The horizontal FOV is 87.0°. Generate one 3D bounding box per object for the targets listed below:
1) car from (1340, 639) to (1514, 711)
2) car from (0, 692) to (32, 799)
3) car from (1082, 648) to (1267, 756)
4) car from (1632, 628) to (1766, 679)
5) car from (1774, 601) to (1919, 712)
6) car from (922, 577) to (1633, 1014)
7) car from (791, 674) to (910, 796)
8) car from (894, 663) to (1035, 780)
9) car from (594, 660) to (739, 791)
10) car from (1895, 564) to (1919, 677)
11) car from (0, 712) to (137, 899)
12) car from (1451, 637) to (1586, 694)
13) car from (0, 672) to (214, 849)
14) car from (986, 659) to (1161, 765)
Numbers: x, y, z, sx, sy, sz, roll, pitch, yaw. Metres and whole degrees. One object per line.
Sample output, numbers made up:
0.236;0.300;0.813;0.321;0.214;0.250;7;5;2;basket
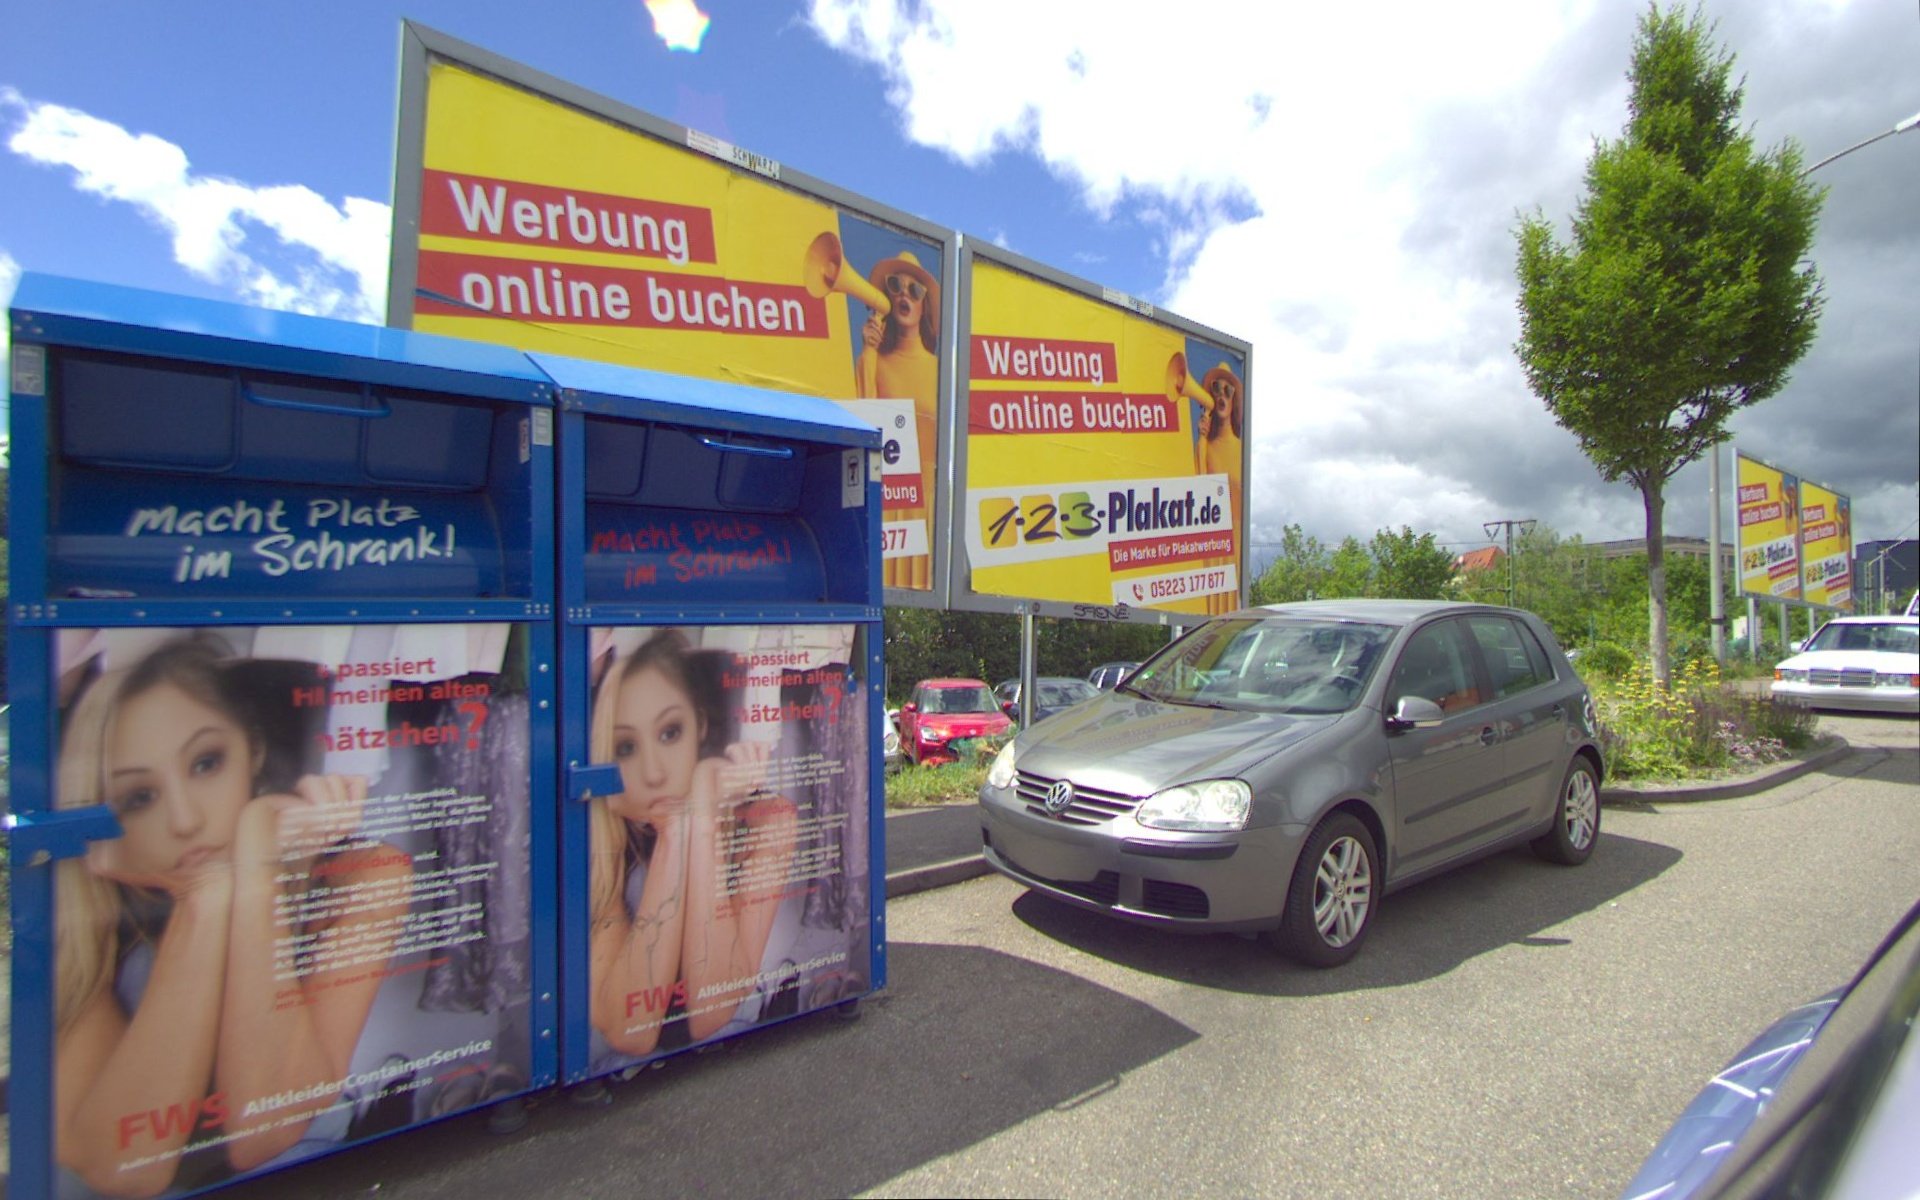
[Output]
11.638;1.811;25.516;1.611;1.509;4.008;0;0;-20;car
-13.156;1.980;12.174;1.719;1.347;4.007;0;0;-23;car
3.997;1.851;19.552;1.681;1.656;4.008;0;0;-18;car
23.038;1.604;31.523;4.466;1.369;1.823;0;0;-32;car
13.462;0.721;14.545;4.124;1.405;1.642;0;-1;-35;car
1.884;0.646;5.375;3.971;1.504;1.659;0;1;-38;car
-1.907;2.110;16.772;1.709;1.469;4.006;-1;0;-9;car
-0.051;1.964;17.419;1.776;1.505;4.006;-1;0;-9;car
-4.547;1.870;16.195;1.751;1.560;4.006;-1;0;-9;car
19.842;0.345;19.122;5.440;2.029;1.981;0;-1;-34;car
-10.031;1.883;8.868;4.068;1.465;1.702;0;-2;-26;car
14.727;1.686;26.648;3.640;1.276;1.577;0;0;-33;car
-11.074;1.854;12.708;1.959;1.574;4.467;0;0;-26;car
1.945;1.948;18.600;1.641;1.464;4.008;0;0;-19;car
